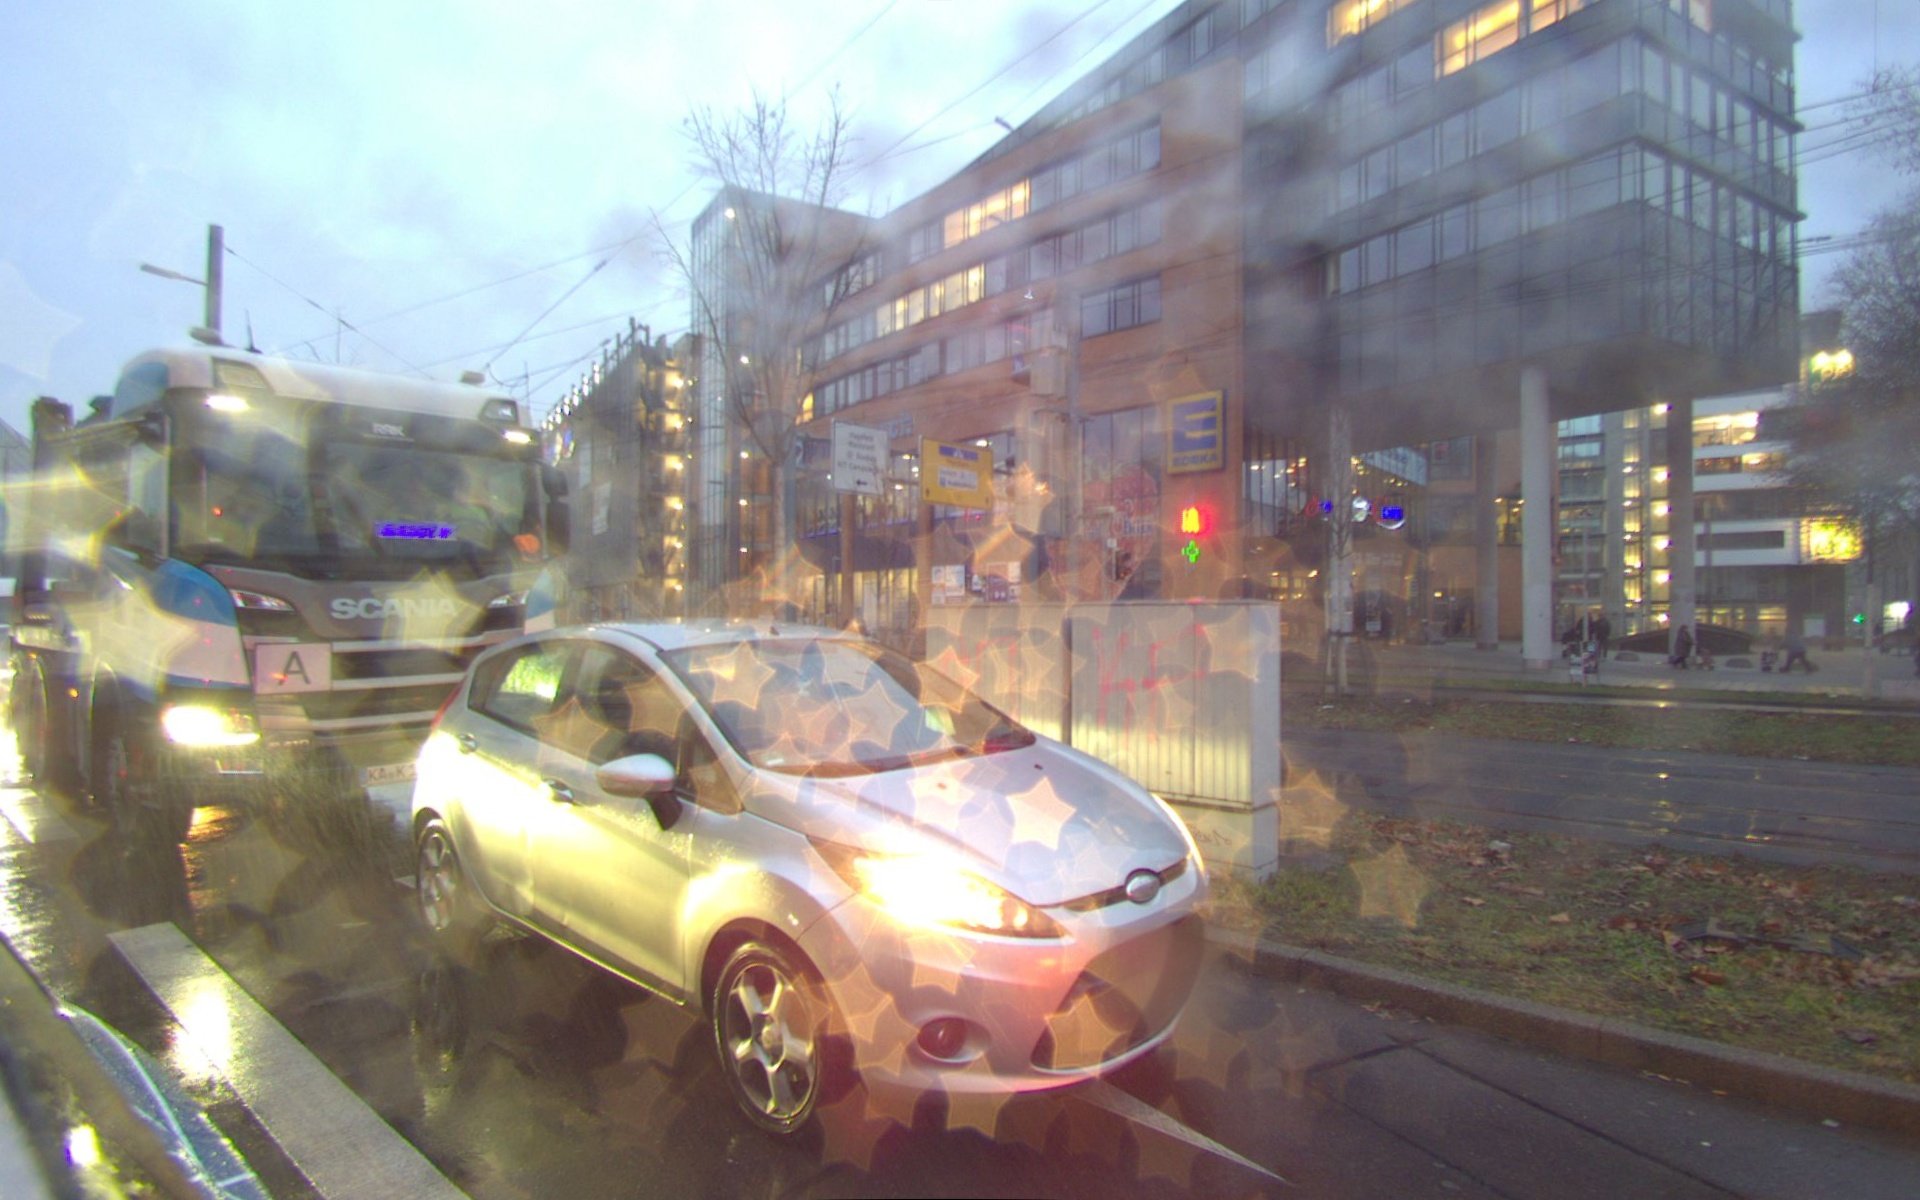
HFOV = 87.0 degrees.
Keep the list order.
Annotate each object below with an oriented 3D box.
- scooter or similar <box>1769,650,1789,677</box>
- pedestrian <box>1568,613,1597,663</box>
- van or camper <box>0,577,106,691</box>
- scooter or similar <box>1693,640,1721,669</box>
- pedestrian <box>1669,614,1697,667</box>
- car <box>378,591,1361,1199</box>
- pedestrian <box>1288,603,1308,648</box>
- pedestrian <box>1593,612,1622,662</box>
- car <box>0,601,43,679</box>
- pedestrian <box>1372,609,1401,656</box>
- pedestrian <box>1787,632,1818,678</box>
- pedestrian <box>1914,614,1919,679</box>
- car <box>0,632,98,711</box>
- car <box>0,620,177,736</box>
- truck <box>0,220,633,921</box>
[{"bbox_3d":[26.793,2.078,33.121,0.545,0.856,0.433,2,-2,-43],"label":"scooter or similar"},{"bbox_3d":[23.450,1.437,38.136,0.723,1.878,0.574,1,-2,-13],"label":"pedestrian"},{"bbox_3d":[-23.102,0.817,24.968,5.894,2.551,2.126,-1,-2,40],"label":"van or camper"},{"bbox_3d":[25.048,1.814,33.927,0.545,0.968,0.667,2,-2,-43],"label":"scooter or similar"},{"bbox_3d":[24.602,1.374,34.432,0.564,1.787,0.638,2,-2,-43],"label":"pedestrian"},{"bbox_3d":[-0.715,0.724,4.072,4.000,1.458,1.687,-1,0,43],"label":"car"},{"bbox_3d":[13.360,1.017,40.029,0.658,1.766,0.534,0,-2,12],"label":"pedestrian"},{"bbox_3d":[24.551,1.418,38.370,0.723,1.878,0.574,1,-2,-14],"label":"pedestrian"},{"bbox_3d":[-37.517,1.542,39.422,5.813,2.885,2.101,-1,-2,43],"label":"car"},{"bbox_3d":[16.125,1.213,38.299,0.782,1.766,0.704,0,-2,-1],"label":"pedestrian"},{"bbox_3d":[27.212,1.760,32.675,0.564,1.470,0.685,2,-2,-43],"label":"pedestrian"},{"bbox_3d":[28.319,1.360,29.471,0.564,1.878,0.736,2,-2,-43],"label":"pedestrian"},{"bbox_3d":[-17.842,1.294,19.287,4.057,1.355,1.735,-1,-2,43],"label":"car"},{"bbox_3d":[-13.540,1.096,15.553,3.939,1.535,1.613,-1,-2,41],"label":"car"},{"bbox_3d":[-6.174,-0.081,8.799,7.521,3.661,2.810,-1,-2,40],"label":"truck"}]
